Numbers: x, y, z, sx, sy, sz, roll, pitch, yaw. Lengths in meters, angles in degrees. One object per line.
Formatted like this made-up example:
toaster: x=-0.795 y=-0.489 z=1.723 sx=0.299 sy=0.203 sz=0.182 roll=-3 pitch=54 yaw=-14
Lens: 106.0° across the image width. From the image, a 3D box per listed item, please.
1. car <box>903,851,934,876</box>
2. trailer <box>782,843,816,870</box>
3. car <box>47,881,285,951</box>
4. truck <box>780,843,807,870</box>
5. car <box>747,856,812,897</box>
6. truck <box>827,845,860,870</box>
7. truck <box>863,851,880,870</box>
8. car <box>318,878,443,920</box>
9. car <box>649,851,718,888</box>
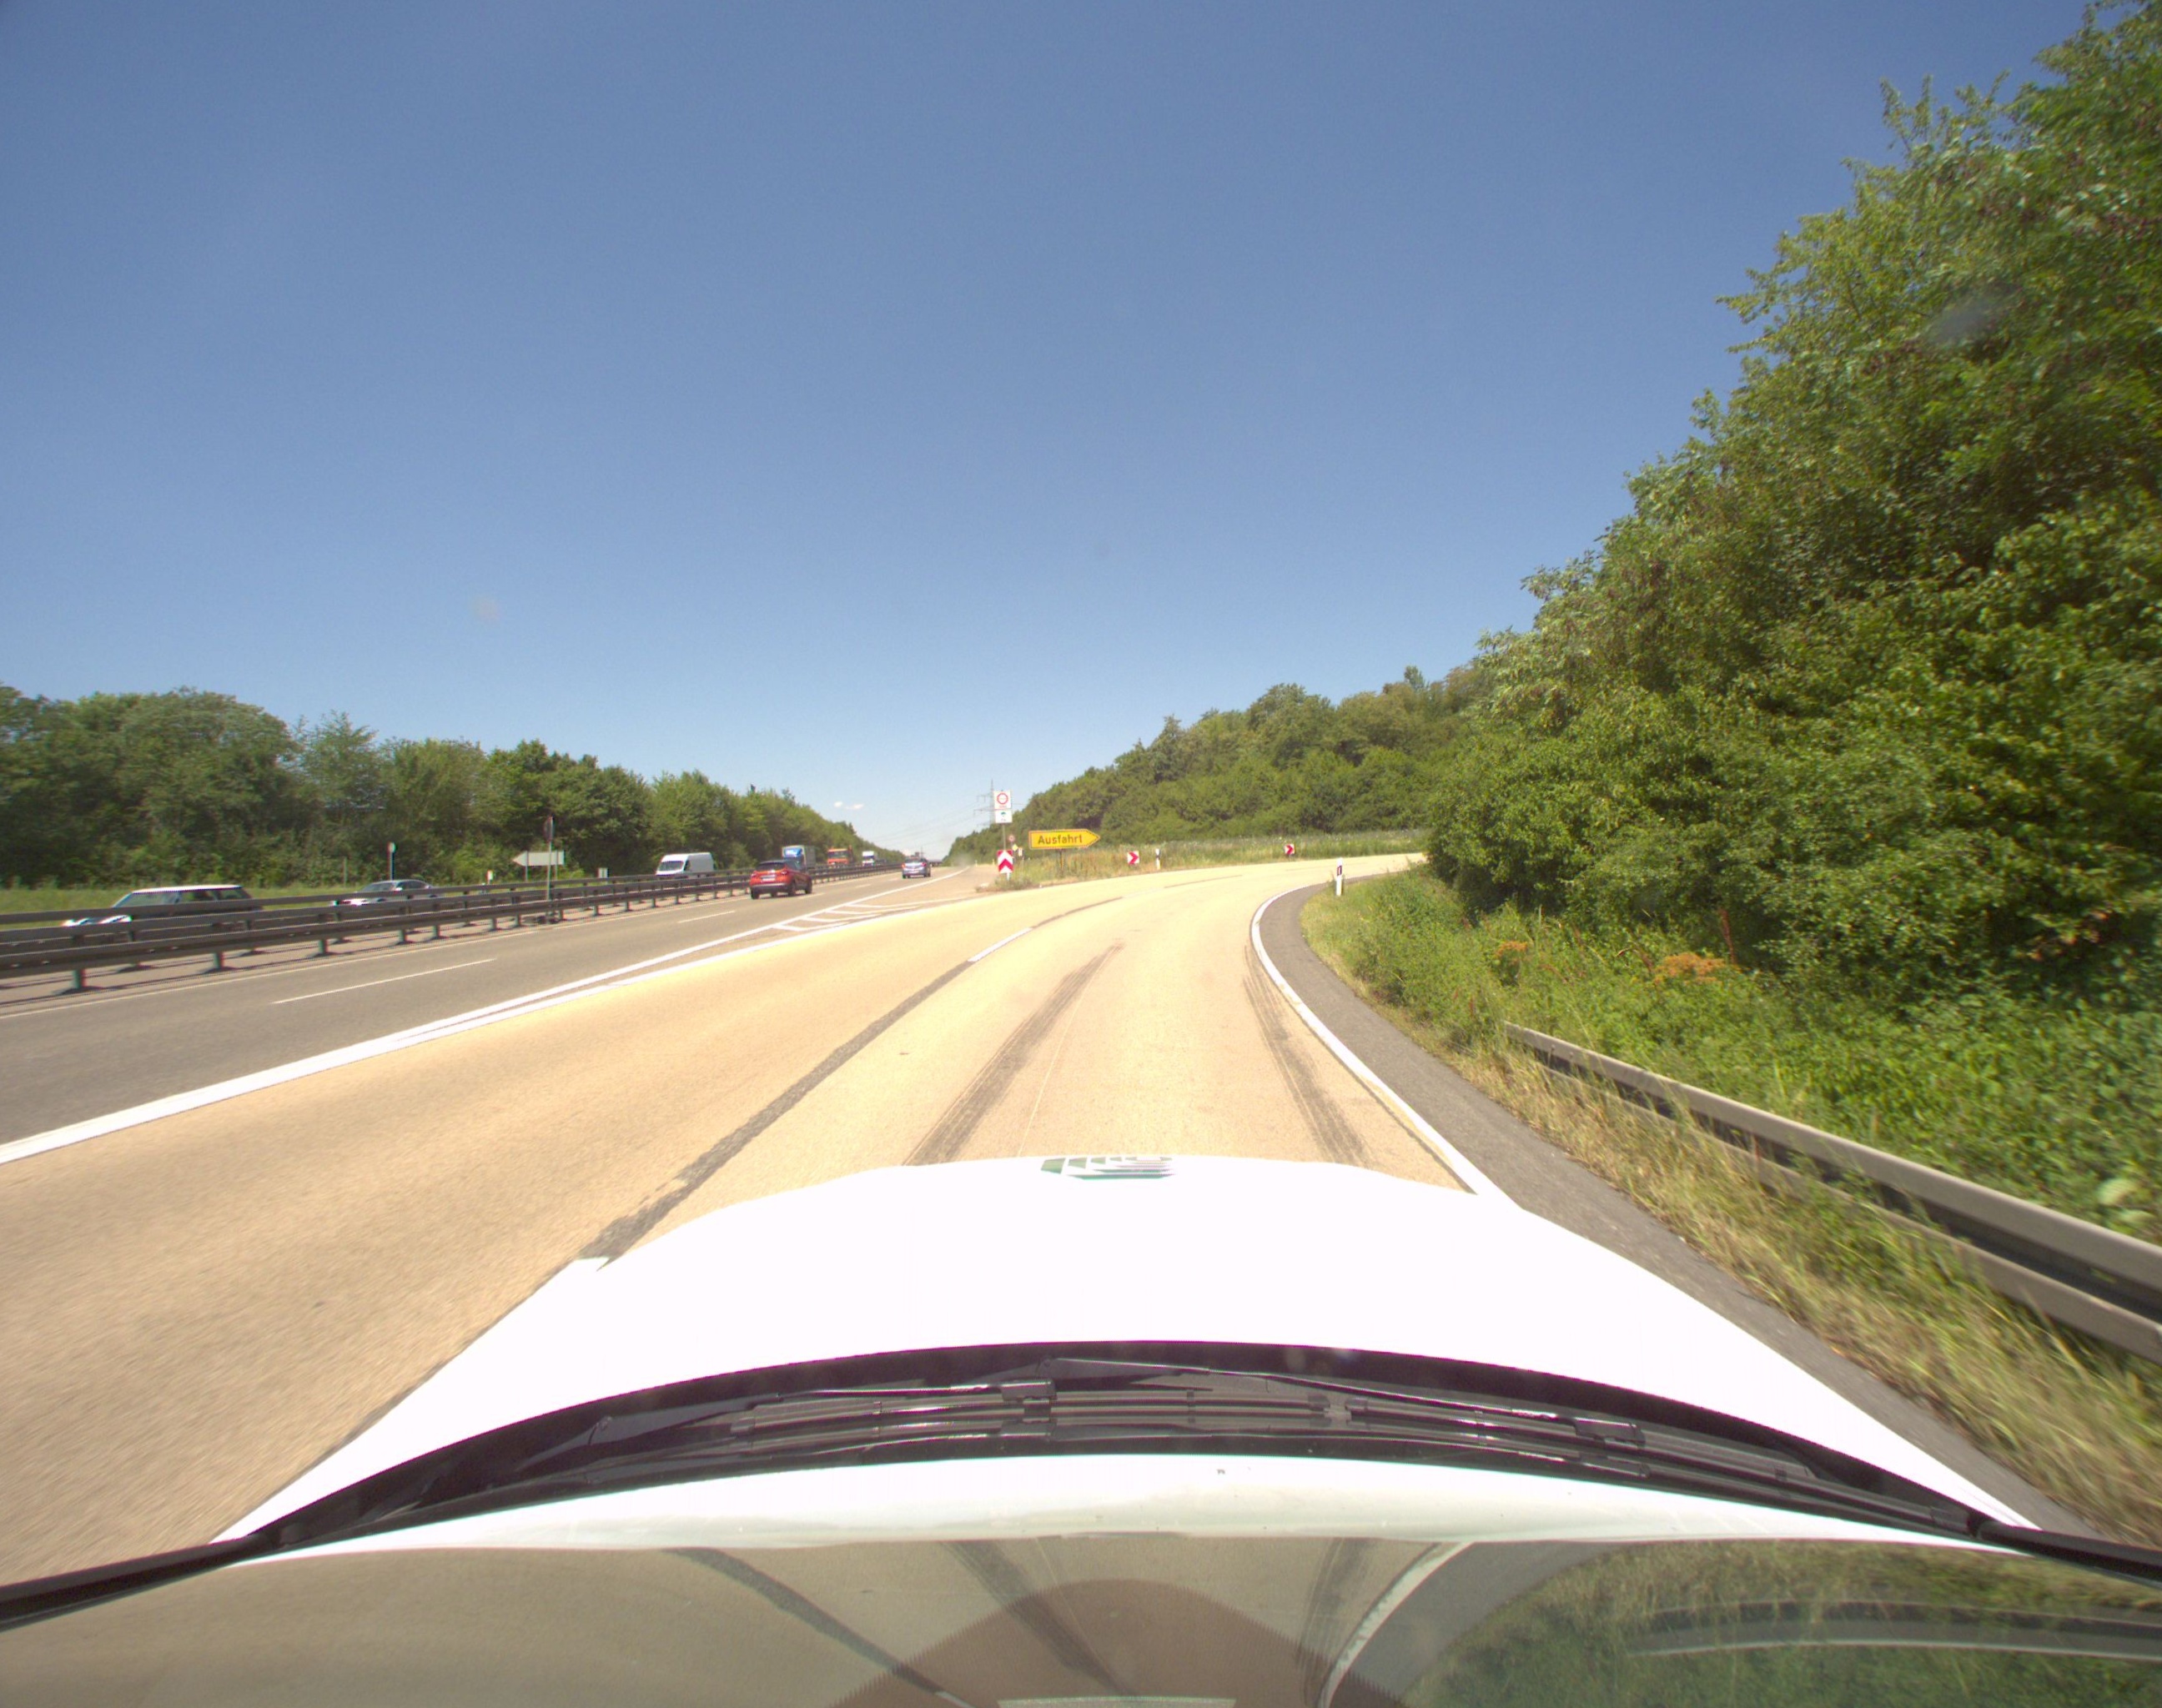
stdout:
car: x=-11.451 y=0.662 z=57.461 sx=1.742 sy=1.577 sz=3.373 roll=-3 pitch=1 yaw=-6
trailer: x=-34.375 y=0.247 z=99.414 sx=2.296 sy=3.009 sz=7.206 roll=-3 pitch=1 yaw=-7
car: x=-22.351 y=1.444 z=20.155 sx=1.511 sy=1.347 sz=3.919 roll=-2 pitch=1 yaw=-2
truck: x=-34.077 y=0.288 z=96.637 sx=2.306 sy=3.009 sz=3.070 roll=-3 pitch=1 yaw=-7
car: x=-12.883 y=0.914 z=34.968 sx=1.742 sy=1.554 sz=3.373 roll=-3 pitch=1 yaw=-6
truck: x=-30.885 y=0.437 z=106.265 sx=2.592 sy=3.062 sz=8.186 roll=-3 pitch=0 yaw=-6
truck: x=-46.772 y=1.438 z=181.971 sx=2.910 sy=3.939 sz=5.402 roll=-3 pitch=0 yaw=-8
car: x=-30.619 y=1.905 z=35.790 sx=1.694 sy=1.484 sz=4.530 roll=-2 pitch=1 yaw=-3
car: x=-30.254 y=1.102 z=62.251 sx=2.152 sy=2.537 sz=6.692 roll=-2 pitch=1 yaw=-2
